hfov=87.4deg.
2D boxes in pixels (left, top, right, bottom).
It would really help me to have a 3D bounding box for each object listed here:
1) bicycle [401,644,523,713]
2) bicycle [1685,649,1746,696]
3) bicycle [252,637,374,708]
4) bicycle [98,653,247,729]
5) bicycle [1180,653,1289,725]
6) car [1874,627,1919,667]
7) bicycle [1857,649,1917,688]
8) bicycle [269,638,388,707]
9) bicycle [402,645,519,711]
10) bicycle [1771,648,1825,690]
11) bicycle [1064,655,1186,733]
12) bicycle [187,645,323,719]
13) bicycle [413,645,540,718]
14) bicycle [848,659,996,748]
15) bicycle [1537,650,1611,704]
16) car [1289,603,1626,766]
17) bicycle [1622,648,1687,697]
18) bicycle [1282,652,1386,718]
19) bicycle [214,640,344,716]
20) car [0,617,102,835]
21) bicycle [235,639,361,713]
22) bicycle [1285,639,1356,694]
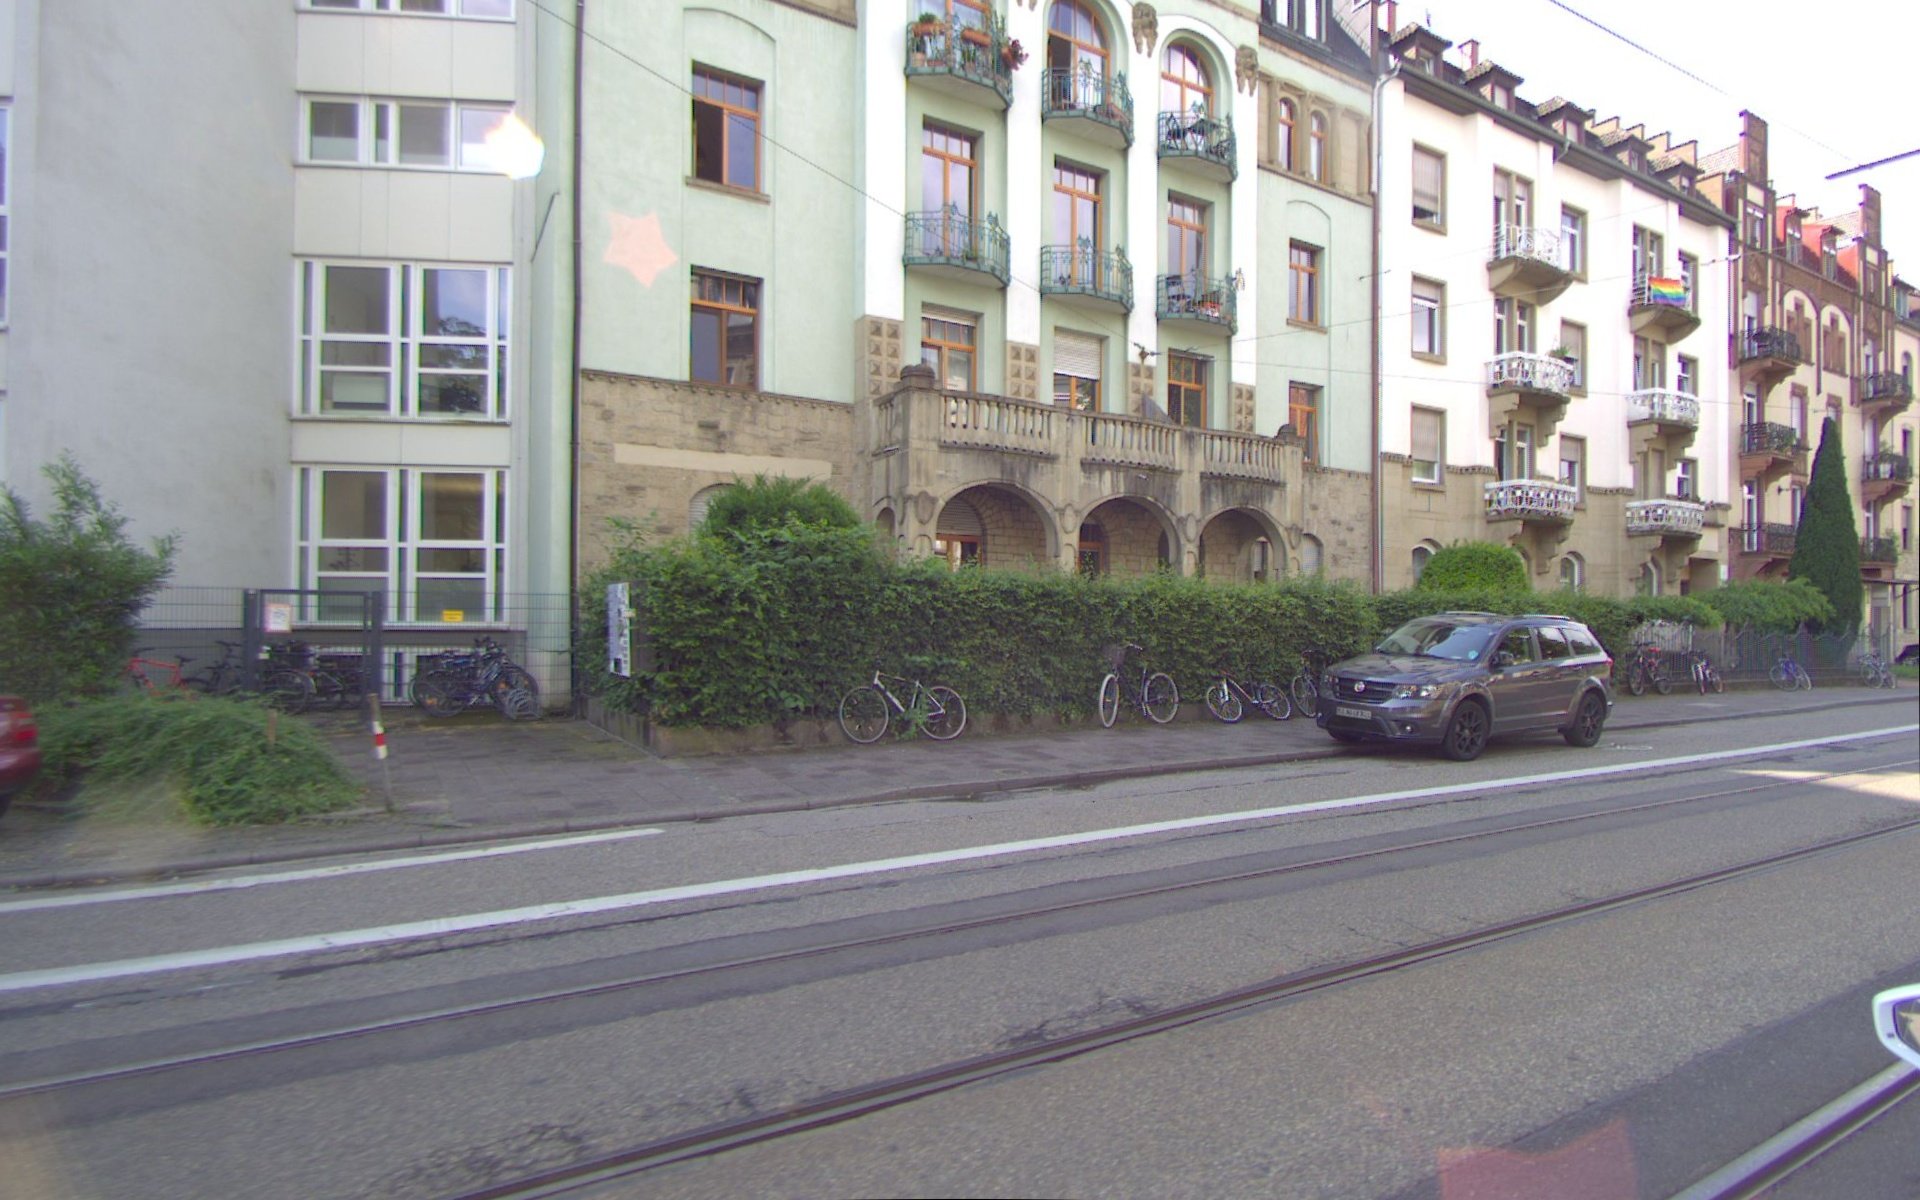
[{"bbox_3d":[-8.323,1.285,16.826,1.790,1.078,0.380,1,0,-33],"label":"bicycle"},{"bbox_3d":[16.880,1.597,22.433,1.779,0.988,0.381,1,0,-30],"label":"bicycle"},{"bbox_3d":[-10.998,1.231,17.095,1.775,1.160,0.384,1,0,-4],"label":"bicycle"},{"bbox_3d":[-10.792,1.247,13.786,1.683,0.992,0.384,1,0,-4],"label":"bicycle"},{"bbox_3d":[4.048,1.290,14.778,1.788,0.972,0.381,1,0,-30],"label":"bicycle"},{"bbox_3d":[38.510,1.903,39.634,1.657,1.533,3.224,2,0,-27],"label":"car"},{"bbox_3d":[25.342,1.871,27.465,1.790,0.972,0.510,3,1,-24],"label":"bicycle"},{"bbox_3d":[-11.017,1.265,17.545,1.775,1.160,0.384,1,0,-4],"label":"bicycle"},{"bbox_3d":[-8.688,1.344,17.520,1.790,1.078,0.380,1,0,-33],"label":"bicycle"},{"bbox_3d":[20.602,1.695,24.683,1.685,0.972,0.424,1,0,-30],"label":"bicycle"},{"bbox_3d":[2.269,1.262,13.724,1.788,0.972,0.381,1,0,-30],"label":"bicycle"},{"bbox_3d":[-10.925,1.269,15.598,1.775,1.078,0.384,1,0,-4],"label":"bicycle"},{"bbox_3d":[-7.693,1.281,16.031,1.790,1.078,0.380,1,0,-33],"label":"bicycle"},{"bbox_3d":[-0.441,1.213,12.045,1.788,0.972,0.381,1,0,-30],"label":"bicycle"},{"bbox_3d":[11.909,1.469,19.460,1.781,0.972,0.448,1,0,-32],"label":"bicycle"},{"bbox_3d":[6.594,0.986,13.110,4.831,1.786,1.774,1,-2,-34],"label":"car"},{"bbox_3d":[14.720,1.524,21.269,1.779,0.972,0.381,1,0,-30],"label":"bicycle"},{"bbox_3d":[5.897,1.317,15.802,1.898,0.972,0.381,1,0,-30],"label":"bicycle"},{"bbox_3d":[-10.965,1.252,16.198,1.775,1.160,0.384,1,0,-4],"label":"bicycle"},{"bbox_3d":[-8.580,0.908,7.193,3.891,1.503,1.848,-2,-3,16],"label":"car"},{"bbox_3d":[-10.960,1.253,16.646,1.775,1.160,0.384,1,0,-4],"label":"bicycle"},{"bbox_3d":[7.360,1.336,20.531,0.390,1.004,1.386,2,1,-32],"label":"bicycle"}]
